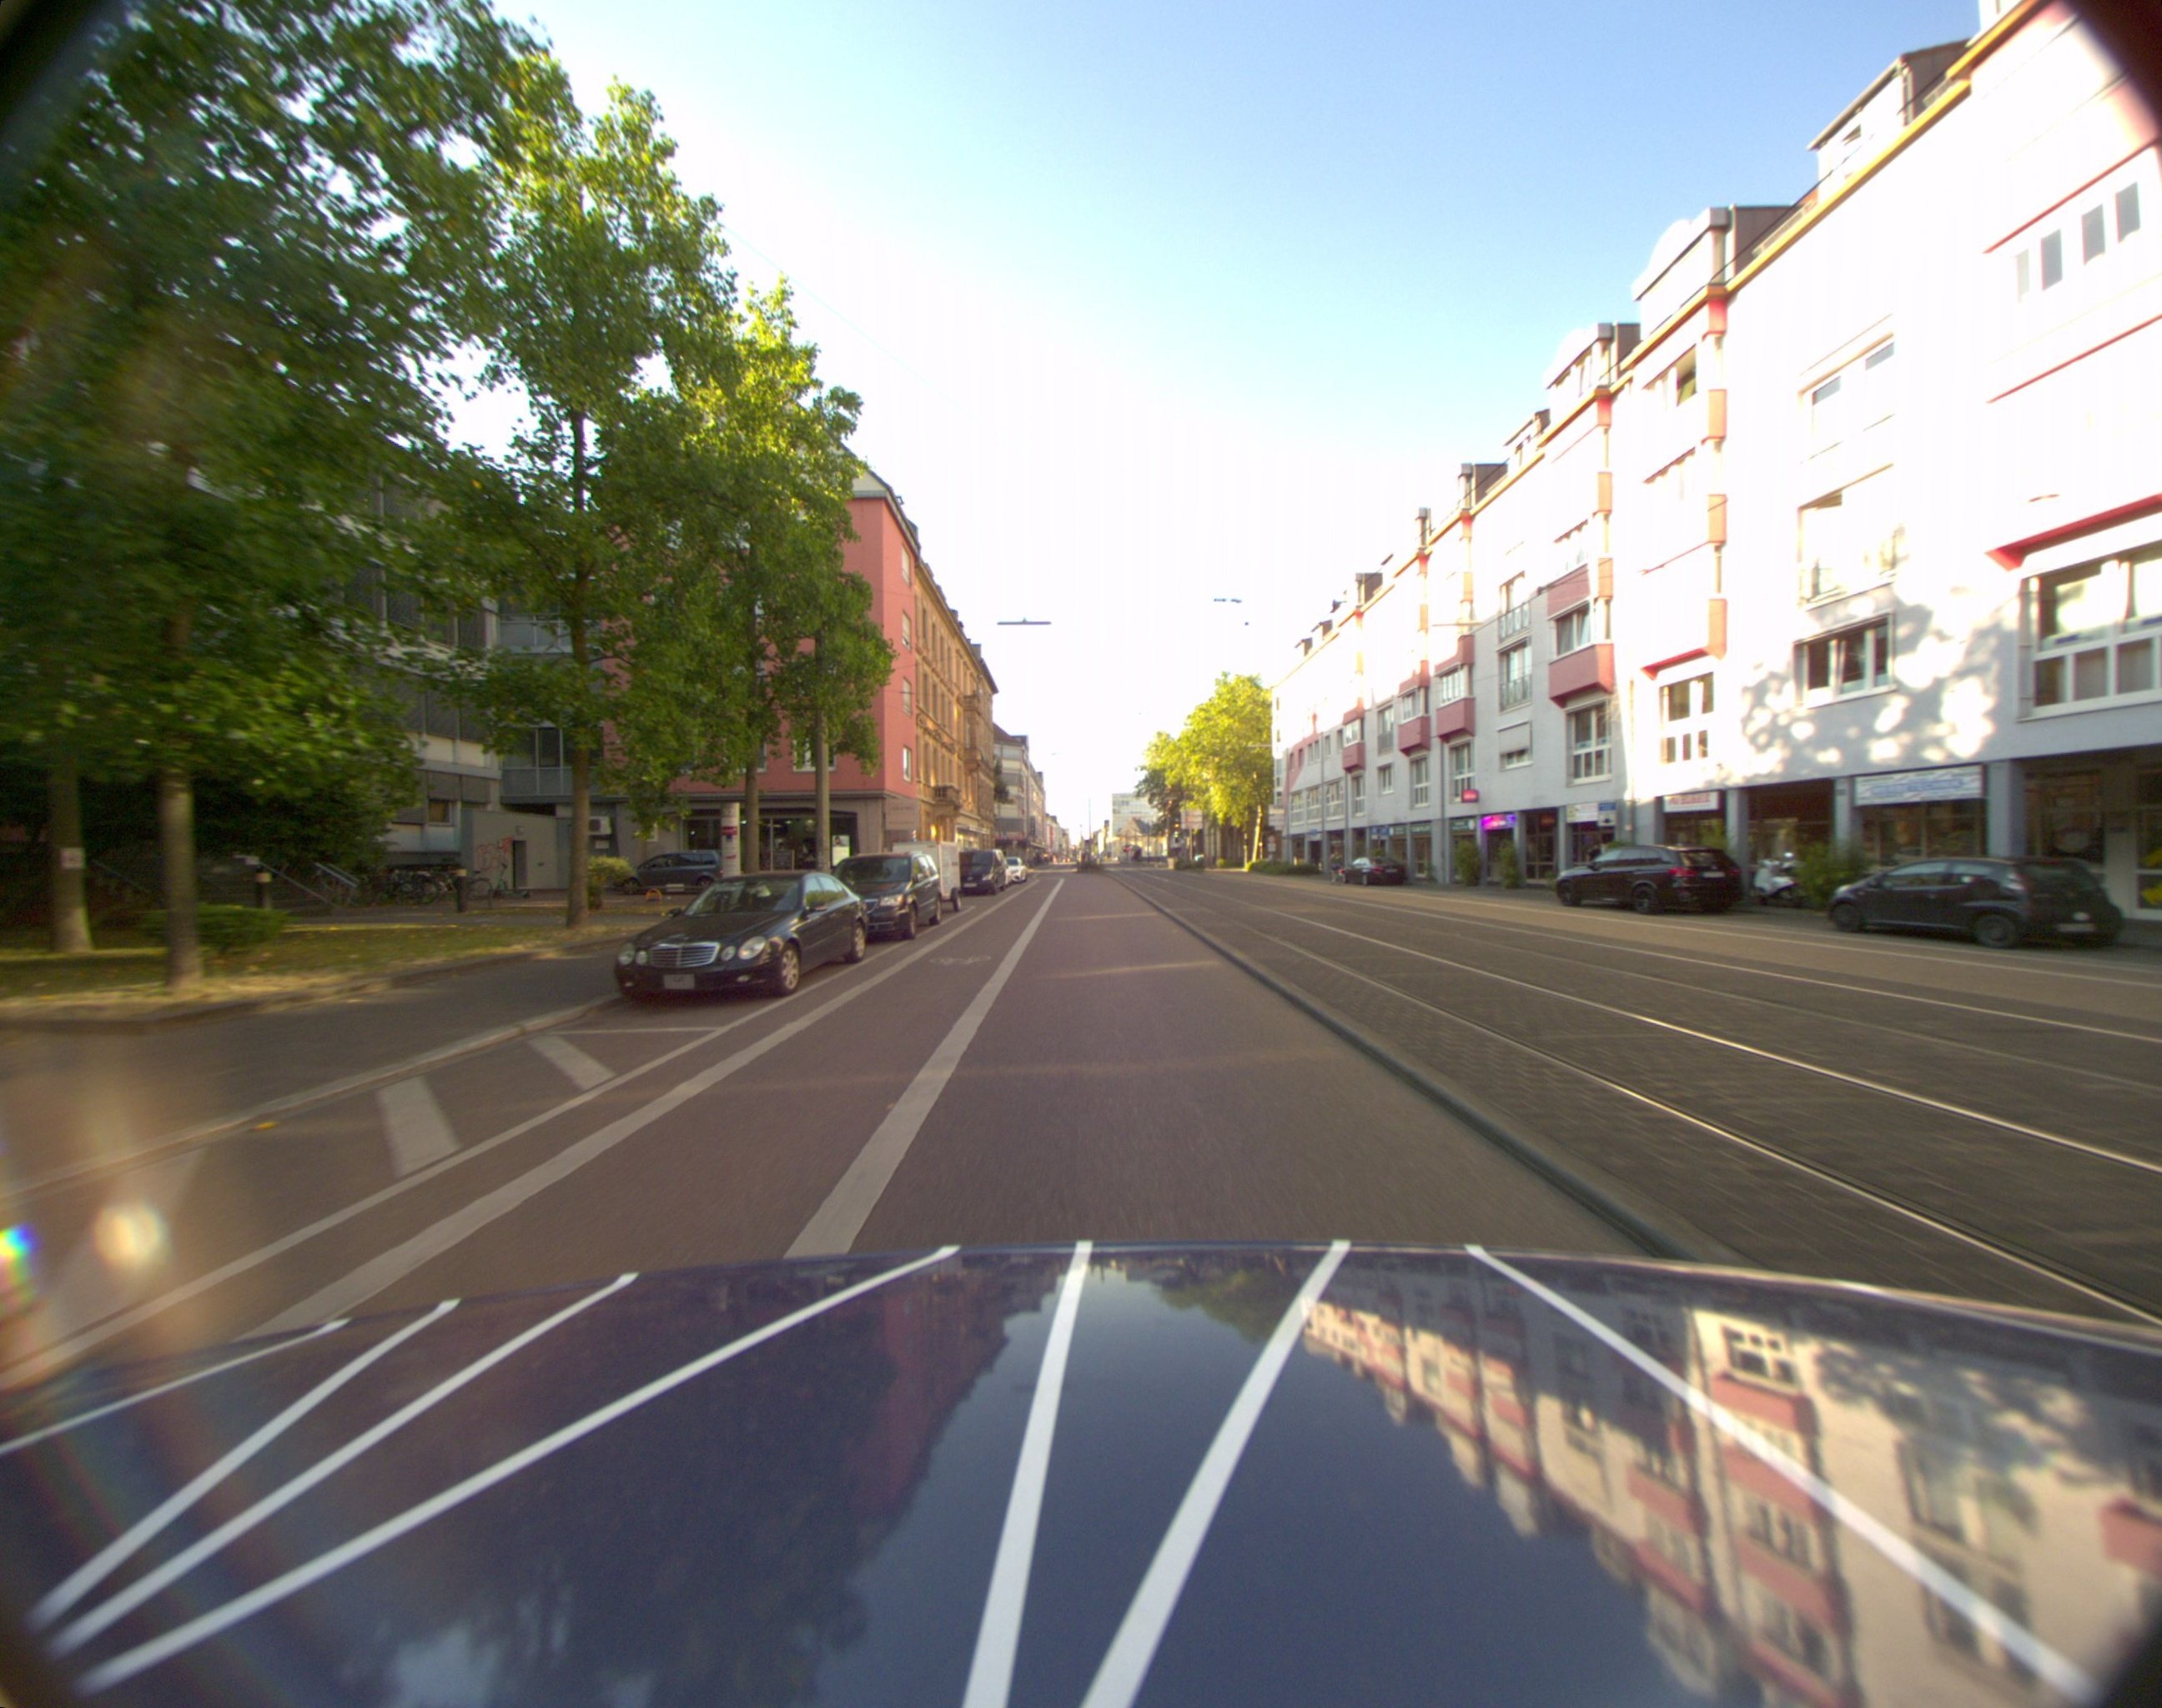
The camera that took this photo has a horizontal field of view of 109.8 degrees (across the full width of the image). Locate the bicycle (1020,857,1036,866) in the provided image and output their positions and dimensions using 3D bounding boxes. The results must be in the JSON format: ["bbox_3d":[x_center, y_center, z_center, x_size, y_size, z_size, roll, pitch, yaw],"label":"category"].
[{"bbox_3d":[-6.374,0.910,91.908,1.839,1.048,0.710,-2,1,-3],"label":"bicycle"}]

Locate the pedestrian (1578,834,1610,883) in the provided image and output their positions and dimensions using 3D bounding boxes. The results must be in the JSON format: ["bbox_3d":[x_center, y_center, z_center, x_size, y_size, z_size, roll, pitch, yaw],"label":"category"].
[{"bbox_3d":[17.956,0.156,26.606,0.615,1.702,0.745,-2,1,-2],"label":"pedestrian"}]

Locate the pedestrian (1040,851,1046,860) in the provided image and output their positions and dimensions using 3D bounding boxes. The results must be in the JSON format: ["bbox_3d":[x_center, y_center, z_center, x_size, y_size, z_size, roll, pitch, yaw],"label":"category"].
[{"bbox_3d":[-7.772,0.252,155.120,0.812,1.793,0.859,-5,1,-29],"label":"pedestrian"}]

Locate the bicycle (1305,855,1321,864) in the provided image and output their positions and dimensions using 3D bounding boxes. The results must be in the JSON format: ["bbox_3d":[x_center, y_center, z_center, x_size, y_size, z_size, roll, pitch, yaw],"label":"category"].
[{"bbox_3d":[17.316,0.417,56.838,0.457,0.654,1.809,-4,1,-5],"label":"bicycle"}]

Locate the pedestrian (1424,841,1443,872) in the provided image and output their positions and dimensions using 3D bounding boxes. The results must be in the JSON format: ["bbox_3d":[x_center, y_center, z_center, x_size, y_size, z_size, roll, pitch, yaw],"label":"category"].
[{"bbox_3d":[19.677,0.126,42.420,0.745,1.702,0.615,-2,1,-4],"label":"pedestrian"}]

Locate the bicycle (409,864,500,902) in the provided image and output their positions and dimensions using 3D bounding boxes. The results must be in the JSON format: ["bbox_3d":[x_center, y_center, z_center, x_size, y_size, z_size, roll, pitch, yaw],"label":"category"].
[{"bbox_3d":[-20.210,0.923,24.536,2.324,1.164,0.862,1,1,5],"label":"bicycle"}]

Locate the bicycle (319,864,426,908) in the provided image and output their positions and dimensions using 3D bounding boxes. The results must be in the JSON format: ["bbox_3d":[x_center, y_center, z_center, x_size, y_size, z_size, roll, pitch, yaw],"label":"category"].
[{"bbox_3d":[-20.048,0.893,21.535,2.324,1.183,0.862,1,1,5],"label":"bicycle"}]

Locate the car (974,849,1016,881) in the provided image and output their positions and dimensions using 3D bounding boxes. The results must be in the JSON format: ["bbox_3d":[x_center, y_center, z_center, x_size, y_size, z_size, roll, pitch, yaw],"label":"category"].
[{"bbox_3d":[-4.345,0.522,38.727,1.735,1.487,3.960,-3,1,-2],"label":"car"}]

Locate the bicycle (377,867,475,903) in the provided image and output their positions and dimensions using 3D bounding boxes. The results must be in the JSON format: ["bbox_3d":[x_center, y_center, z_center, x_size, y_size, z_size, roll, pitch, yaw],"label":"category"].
[{"bbox_3d":[-20.247,0.944,23.515,2.379,1.037,0.862,1,1,5],"label":"bicycle"}]

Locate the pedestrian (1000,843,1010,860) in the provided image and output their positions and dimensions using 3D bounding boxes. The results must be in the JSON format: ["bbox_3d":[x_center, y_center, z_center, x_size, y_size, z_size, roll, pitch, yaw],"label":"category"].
[{"bbox_3d":[-7.375,-0.234,73.592,0.785,1.655,1.033,-2,-1,1],"label":"pedestrian"}]

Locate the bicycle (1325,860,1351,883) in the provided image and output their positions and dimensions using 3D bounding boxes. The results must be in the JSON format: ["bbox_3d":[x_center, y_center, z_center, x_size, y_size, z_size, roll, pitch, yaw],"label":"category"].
[{"bbox_3d":[12.612,0.851,37.346,0.584,1.071,2.185,0,1,1],"label":"bicycle"}]

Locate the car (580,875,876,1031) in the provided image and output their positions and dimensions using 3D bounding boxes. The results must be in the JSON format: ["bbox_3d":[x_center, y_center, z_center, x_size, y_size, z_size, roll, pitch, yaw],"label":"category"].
[{"bbox_3d":[-4.234,1.078,10.100,1.721,1.419,4.675,-2,0,0],"label":"car"}]

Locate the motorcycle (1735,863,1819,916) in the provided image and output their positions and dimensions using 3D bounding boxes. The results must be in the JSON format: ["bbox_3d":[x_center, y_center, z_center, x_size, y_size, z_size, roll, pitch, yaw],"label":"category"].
[{"bbox_3d":[16.627,0.831,18.202,0.571,1.127,1.543,-3,2,-1],"label":"motorcycle"}]

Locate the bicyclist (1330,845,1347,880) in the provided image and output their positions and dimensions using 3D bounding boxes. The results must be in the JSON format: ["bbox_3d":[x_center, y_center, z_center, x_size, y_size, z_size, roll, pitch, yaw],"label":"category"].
[{"bbox_3d":[12.618,0.401,37.262,0.573,1.702,0.745,0,1,0],"label":"bicyclist"}]

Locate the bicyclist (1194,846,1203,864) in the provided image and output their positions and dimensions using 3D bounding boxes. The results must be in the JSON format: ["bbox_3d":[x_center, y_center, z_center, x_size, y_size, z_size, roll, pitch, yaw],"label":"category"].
[{"bbox_3d":[11.459,0.099,74.213,0.532,1.702,0.747,-1,1,45],"label":"bicyclist"}]

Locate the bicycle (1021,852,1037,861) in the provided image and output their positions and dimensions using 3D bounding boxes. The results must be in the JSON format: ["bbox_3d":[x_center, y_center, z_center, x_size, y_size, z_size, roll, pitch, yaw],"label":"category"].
[{"bbox_3d":[-6.414,0.284,93.571,1.839,1.048,0.718,-2,1,-3],"label":"bicycle"}]

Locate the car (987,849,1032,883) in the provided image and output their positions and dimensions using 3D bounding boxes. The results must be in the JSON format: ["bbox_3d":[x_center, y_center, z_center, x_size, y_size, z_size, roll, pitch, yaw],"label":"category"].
[{"bbox_3d":[-4.086,0.646,44.058,1.971,1.761,4.874,-3,1,1],"label":"car"}]

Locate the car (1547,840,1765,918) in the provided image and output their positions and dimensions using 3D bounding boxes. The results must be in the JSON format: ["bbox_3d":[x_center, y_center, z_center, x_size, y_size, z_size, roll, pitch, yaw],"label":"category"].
[{"bbox_3d":[15.017,0.548,20.287,2.096,1.703,4.817,-3,2,-1],"label":"car"}]

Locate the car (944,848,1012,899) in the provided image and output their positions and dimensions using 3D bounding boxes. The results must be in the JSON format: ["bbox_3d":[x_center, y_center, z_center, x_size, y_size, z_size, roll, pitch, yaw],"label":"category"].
[{"bbox_3d":[-4.223,0.743,31.980,1.960,1.858,4.988,-3,1,1],"label":"car"}]

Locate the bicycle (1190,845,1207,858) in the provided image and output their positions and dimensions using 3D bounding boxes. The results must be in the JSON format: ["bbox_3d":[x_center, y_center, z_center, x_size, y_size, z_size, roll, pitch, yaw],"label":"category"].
[{"bbox_3d":[11.491,-0.257,74.274,1.903,1.071,0.582,-5,1,-44],"label":"bicycle"}]

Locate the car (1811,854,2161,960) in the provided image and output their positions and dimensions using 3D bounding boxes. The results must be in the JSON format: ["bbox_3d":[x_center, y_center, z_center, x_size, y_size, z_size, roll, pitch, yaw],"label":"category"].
[{"bbox_3d":[15.286,0.805,13.189,1.874,1.442,3.583,-3,1,3],"label":"car"}]

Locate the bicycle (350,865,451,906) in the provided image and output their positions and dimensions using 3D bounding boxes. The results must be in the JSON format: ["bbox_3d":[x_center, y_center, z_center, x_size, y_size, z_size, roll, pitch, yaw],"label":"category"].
[{"bbox_3d":[-20.204,0.922,22.583,2.324,1.146,0.862,1,1,5],"label":"bicycle"}]

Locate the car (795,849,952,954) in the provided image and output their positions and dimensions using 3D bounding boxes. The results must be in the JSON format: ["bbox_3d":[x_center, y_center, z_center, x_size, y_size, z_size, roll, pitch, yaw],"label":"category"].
[{"bbox_3d":[-4.213,0.846,16.400,1.955,1.778,5.180,-3,1,-1],"label":"car"}]

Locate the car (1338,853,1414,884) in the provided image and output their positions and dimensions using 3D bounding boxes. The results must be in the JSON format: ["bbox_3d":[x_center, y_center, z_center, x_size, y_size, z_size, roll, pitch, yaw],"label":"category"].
[{"bbox_3d":[15.083,0.686,39.150,1.874,1.431,4.705,-2,1,-3],"label":"car"}]

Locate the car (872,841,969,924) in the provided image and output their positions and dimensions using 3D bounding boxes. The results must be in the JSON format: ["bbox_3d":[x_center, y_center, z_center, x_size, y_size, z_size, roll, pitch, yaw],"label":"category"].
[{"bbox_3d":[-4.475,0.722,21.757,1.709,2.108,3.706,-2,1,3],"label":"car"}]

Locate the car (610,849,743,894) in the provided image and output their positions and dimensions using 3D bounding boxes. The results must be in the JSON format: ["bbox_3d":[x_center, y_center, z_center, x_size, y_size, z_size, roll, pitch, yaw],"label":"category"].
[{"bbox_3d":[-15.179,0.641,28.659,4.041,1.639,1.776,1,1,-5],"label":"car"}]
